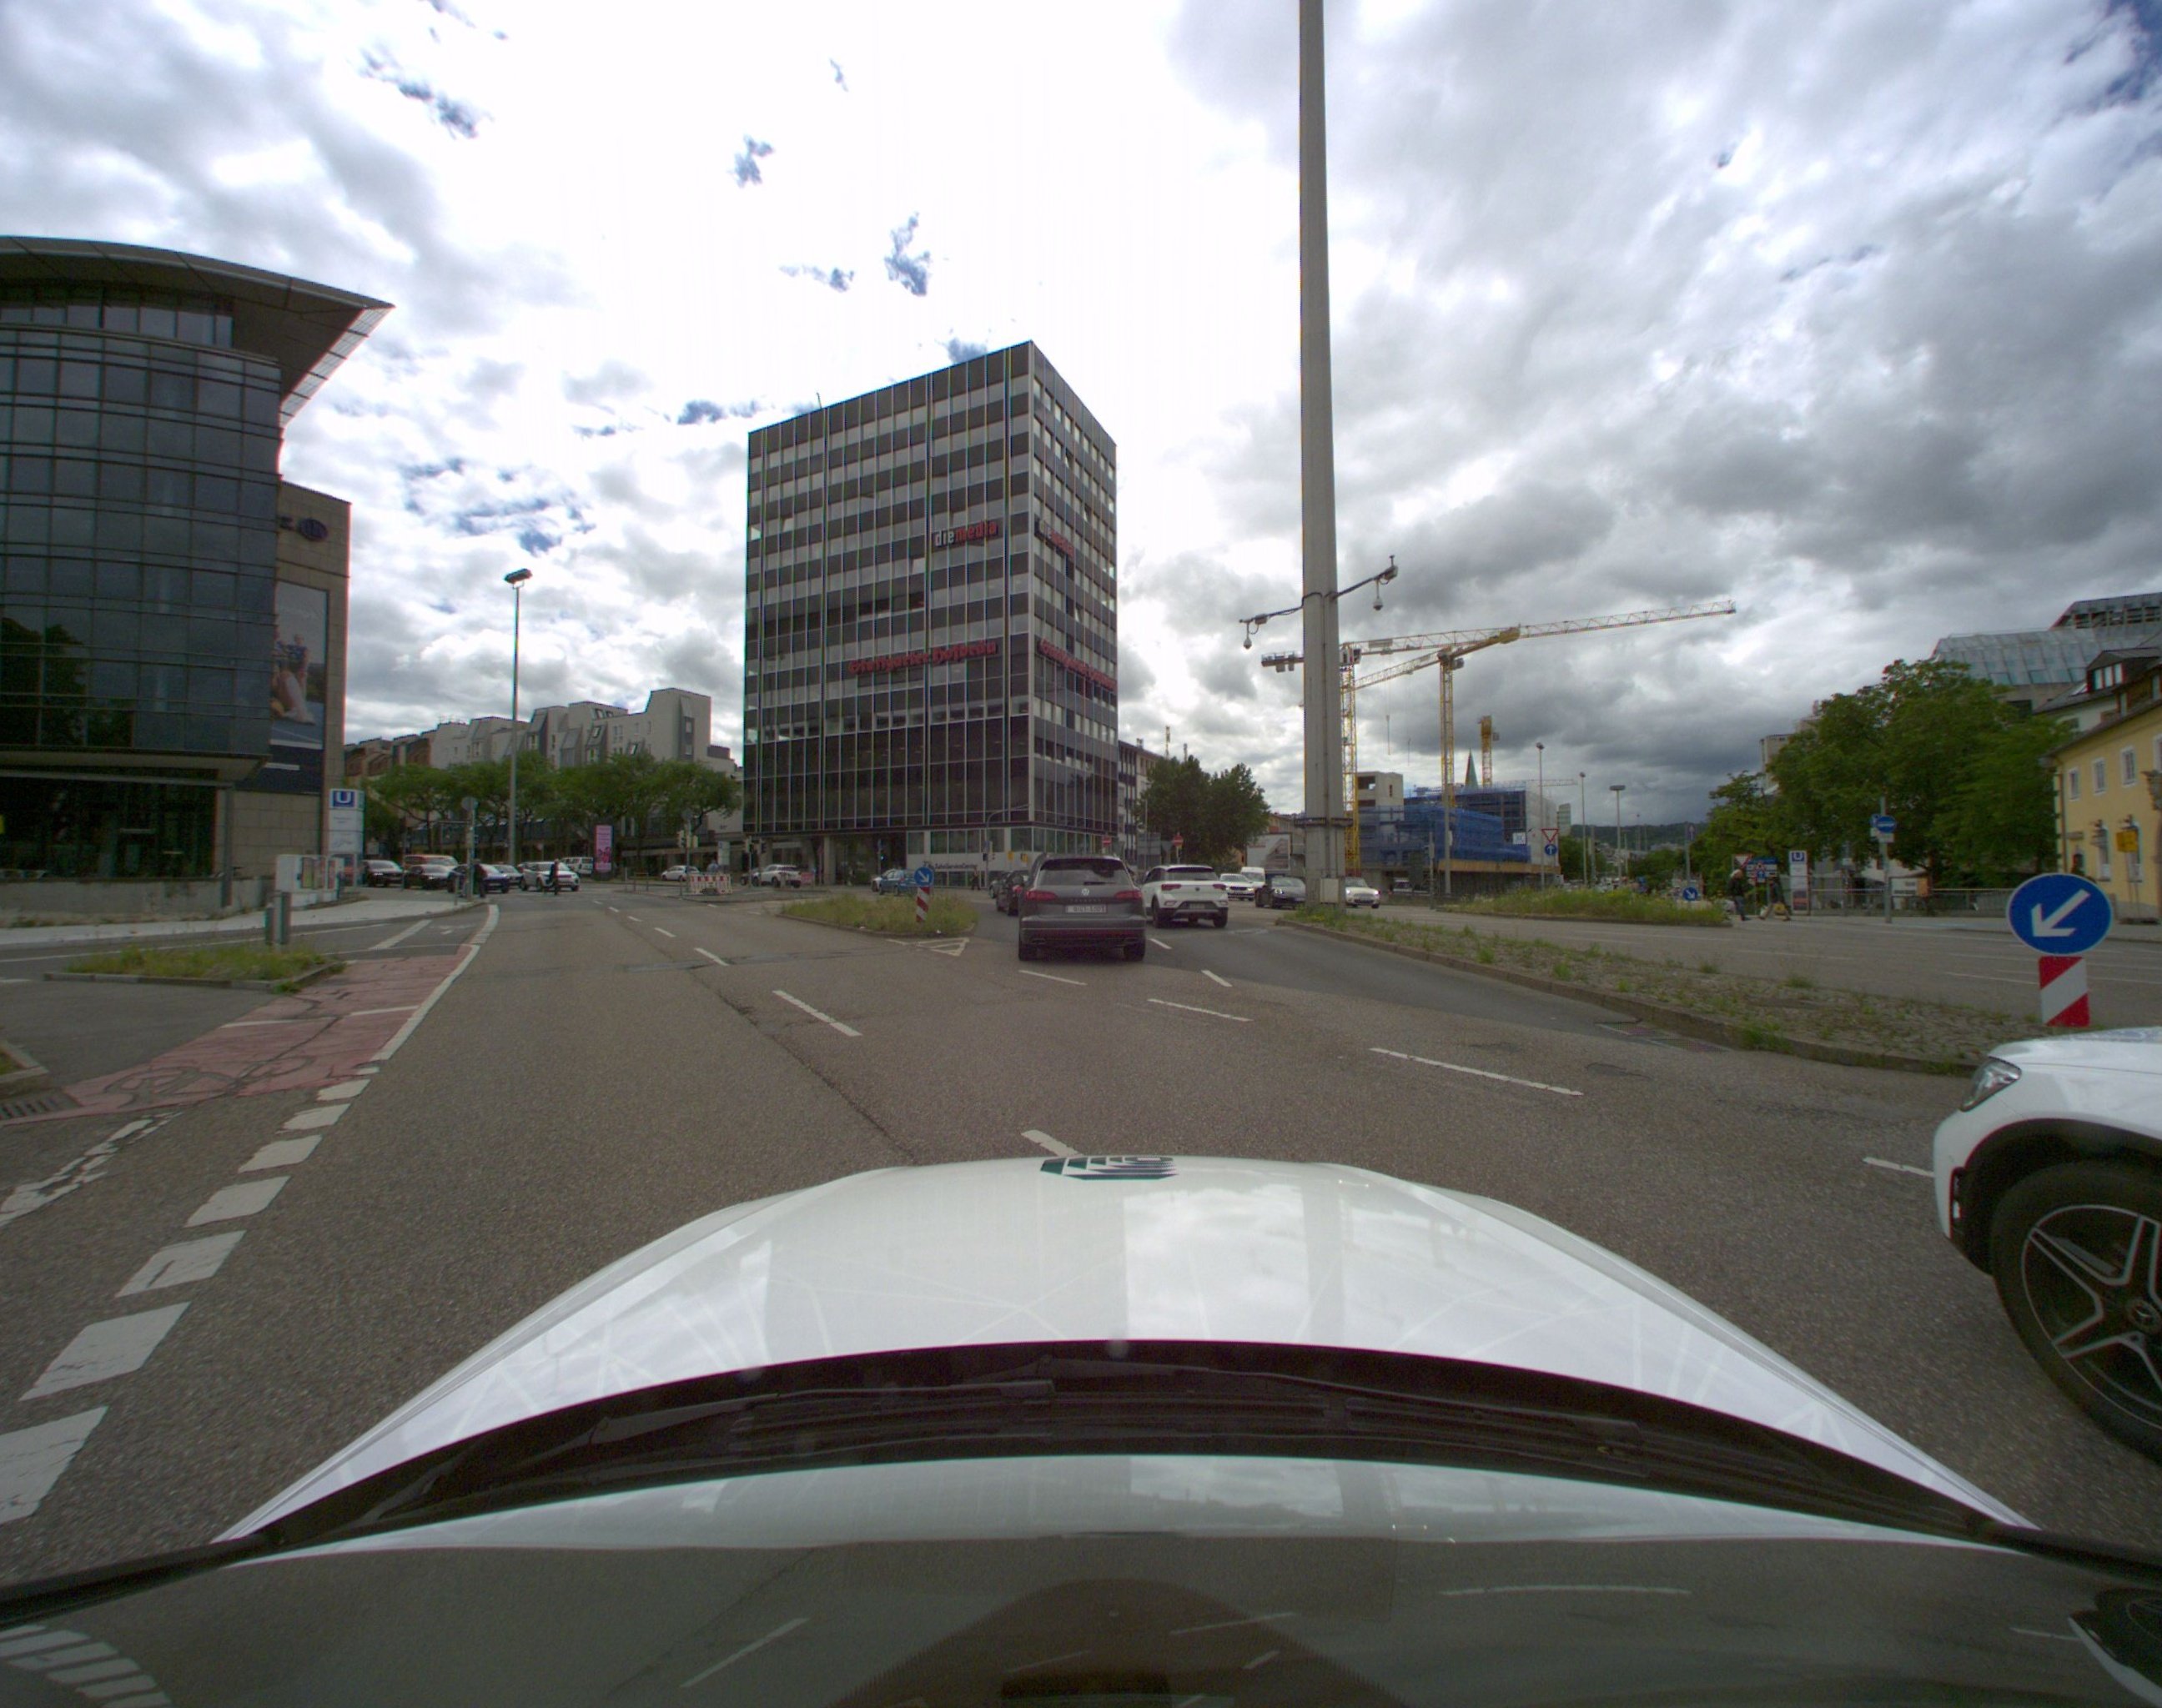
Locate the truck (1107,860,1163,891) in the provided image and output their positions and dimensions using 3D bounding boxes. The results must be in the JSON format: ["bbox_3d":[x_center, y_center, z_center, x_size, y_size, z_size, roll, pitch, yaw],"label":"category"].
[{"bbox_3d":[5.757,2.329,85.283,2.315,3.064,8.249,0,-2,31],"label":"truck"}]

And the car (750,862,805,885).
[{"bbox_3d":[-21.441,1.357,57.511,3.718,1.567,1.849,0,-1,34],"label":"car"}]

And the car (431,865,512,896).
[{"bbox_3d":[-31.879,1.376,42.583,4.038,1.525,2.012,0,-1,32],"label":"car"}]

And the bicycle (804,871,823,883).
[{"bbox_3d":[-23.964,2.056,73.001,1.472,1.048,0.716,1,-2,10],"label":"bicycle"}]

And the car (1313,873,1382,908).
[{"bbox_3d":[11.923,1.617,36.681,1.720,1.418,3.642,1,-1,-4],"label":"car"}]

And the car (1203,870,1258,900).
[{"bbox_3d":[8.175,1.694,44.898,1.988,1.504,5.036,1,-2,-1],"label":"car"}]

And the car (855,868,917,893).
[{"bbox_3d":[-12.728,1.684,53.086,3.718,1.517,1.849,0,-1,34],"label":"car"}]

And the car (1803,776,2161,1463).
[{"bbox_3d":[3.461,0.632,0.770,1.795,1.646,4.335,0,0,1],"label":"car"}]

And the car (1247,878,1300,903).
[{"bbox_3d":[11.411,2.130,48.528,1.750,1.333,4.405,2,-2,-5],"label":"car"}]

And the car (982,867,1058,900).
[{"bbox_3d":[-3.072,1.436,40.518,1.847,1.432,4.102,3,-2,-36],"label":"car"}]

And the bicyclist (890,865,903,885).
[{"bbox_3d":[-14.437,1.638,63.629,0.840,1.549,0.566,0,-1,2],"label":"bicyclist"}]

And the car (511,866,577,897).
[{"bbox_3d":[-29.737,1.501,45.037,4.263,1.599,1.751,0,-1,38],"label":"car"}]

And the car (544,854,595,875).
[{"bbox_3d":[-46.584,0.929,74.167,4.808,1.874,1.849,0,-1,29],"label":"car"}]

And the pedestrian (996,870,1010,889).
[{"bbox_3d":[-5.812,1.895,60.838,0.828,1.443,0.609,0,-1,26],"label":"pedestrian"}]

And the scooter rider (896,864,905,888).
[{"bbox_3d":[-13.828,1.687,62.449,0.641,1.809,0.591,0,-1,-11],"label":"scooter rider"}]

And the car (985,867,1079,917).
[{"bbox_3d":[-1.658,1.168,25.999,1.839,1.395,4.119,3,-1,-20],"label":"car"}]

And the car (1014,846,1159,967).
[{"bbox_3d":[-0.082,0.755,13.675,1.968,1.695,4.215,1,0,-6],"label":"car"}]

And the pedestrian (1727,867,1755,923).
[{"bbox_3d":[22.752,1.406,28.076,0.552,1.895,0.642,0,1,20],"label":"pedestrian"}]

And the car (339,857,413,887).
[{"bbox_3d":[-43.169,1.062,49.858,4.623,1.645,2.012,1,0,30],"label":"car"}]

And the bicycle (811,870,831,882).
[{"bbox_3d":[-23.533,2.001,73.722,1.472,1.048,0.716,1,-2,10],"label":"bicycle"}]

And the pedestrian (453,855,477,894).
[{"bbox_3d":[-27.146,0.887,35.900,0.624,1.701,0.648,0,-2,35],"label":"pedestrian"}]

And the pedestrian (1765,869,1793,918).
[{"bbox_3d":[26.219,1.474,30.612,0.743,1.789,0.833,0,-2,38],"label":"pedestrian"}]

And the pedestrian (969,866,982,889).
[{"bbox_3d":[-7.830,1.760,60.535,0.792,1.698,0.551,0,-1,25],"label":"pedestrian"}]

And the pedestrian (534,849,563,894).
[{"bbox_3d":[-25.896,0.840,39.614,0.755,2.172,0.882,0,-1,13],"label":"pedestrian"}]

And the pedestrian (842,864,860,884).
[{"bbox_3d":[-19.045,1.649,67.396,0.951,1.634,1.073,0,-1,24],"label":"pedestrian"}]

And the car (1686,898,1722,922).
[{"bbox_3d":[45.090,4.049,58.903,1.855,1.602,4.024,0,-3,40],"label":"car"}]

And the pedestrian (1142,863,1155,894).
[{"bbox_3d":[3.975,1.432,47.858,0.637,1.797,0.612,2,-2,7],"label":"pedestrian"}]

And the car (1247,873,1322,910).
[{"bbox_3d":[8.053,1.458,32.575,1.668,1.264,4.051,-2,0,-4],"label":"car"}]

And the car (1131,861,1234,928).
[{"bbox_3d":[2.511,0.977,21.051,1.795,1.545,3.927,1,0,-6],"label":"car"}]

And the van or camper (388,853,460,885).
[{"bbox_3d":[-42.011,0.912,52.058,5.018,1.921,1.931,0,0,30],"label":"van or camper"}]

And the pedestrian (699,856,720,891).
[{"bbox_3d":[-19.419,1.006,42.553,0.626,1.790,0.722,1,2,31],"label":"pedestrian"}]

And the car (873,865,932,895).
[{"bbox_3d":[-9.867,1.405,44.837,1.846,1.517,3.725,1,-1,-36],"label":"car"}]

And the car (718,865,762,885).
[{"bbox_3d":[-27.300,1.647,65.194,1.877,1.574,3.950,1,-1,-45],"label":"car"}]

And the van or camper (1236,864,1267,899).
[{"bbox_3d":[12.992,2.105,62.391,2.126,2.477,6.178,1,-1,11],"label":"van or camper"}]

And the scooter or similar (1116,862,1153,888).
[{"bbox_3d":[2.927,1.145,44.601,1.868,1.407,0.780,1,-2,15],"label":"scooter or similar"}]

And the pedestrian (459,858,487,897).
[{"bbox_3d":[-26.485,1.015,35.502,0.624,1.701,0.774,0,-2,35],"label":"pedestrian"}]

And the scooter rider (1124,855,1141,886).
[{"bbox_3d":[2.840,0.905,44.628,0.738,1.694,0.769,1,-2,15],"label":"scooter rider"}]

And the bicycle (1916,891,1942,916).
[{"bbox_3d":[38.250,2.232,36.758,0.613,1.086,1.783,0,-2,40],"label":"bicycle"}]

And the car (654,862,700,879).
[{"bbox_3d":[-35.439,1.428,71.484,4.278,1.418,2.075,0,0,40],"label":"car"}]

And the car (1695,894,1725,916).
[{"bbox_3d":[54.691,4.385,70.779,1.974,1.635,4.025,0,-1,39],"label":"car"}]

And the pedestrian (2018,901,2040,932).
[{"bbox_3d":[46.484,3.070,39.938,0.727,1.450,0.620,1,-1,-44],"label":"pedestrian"}]
